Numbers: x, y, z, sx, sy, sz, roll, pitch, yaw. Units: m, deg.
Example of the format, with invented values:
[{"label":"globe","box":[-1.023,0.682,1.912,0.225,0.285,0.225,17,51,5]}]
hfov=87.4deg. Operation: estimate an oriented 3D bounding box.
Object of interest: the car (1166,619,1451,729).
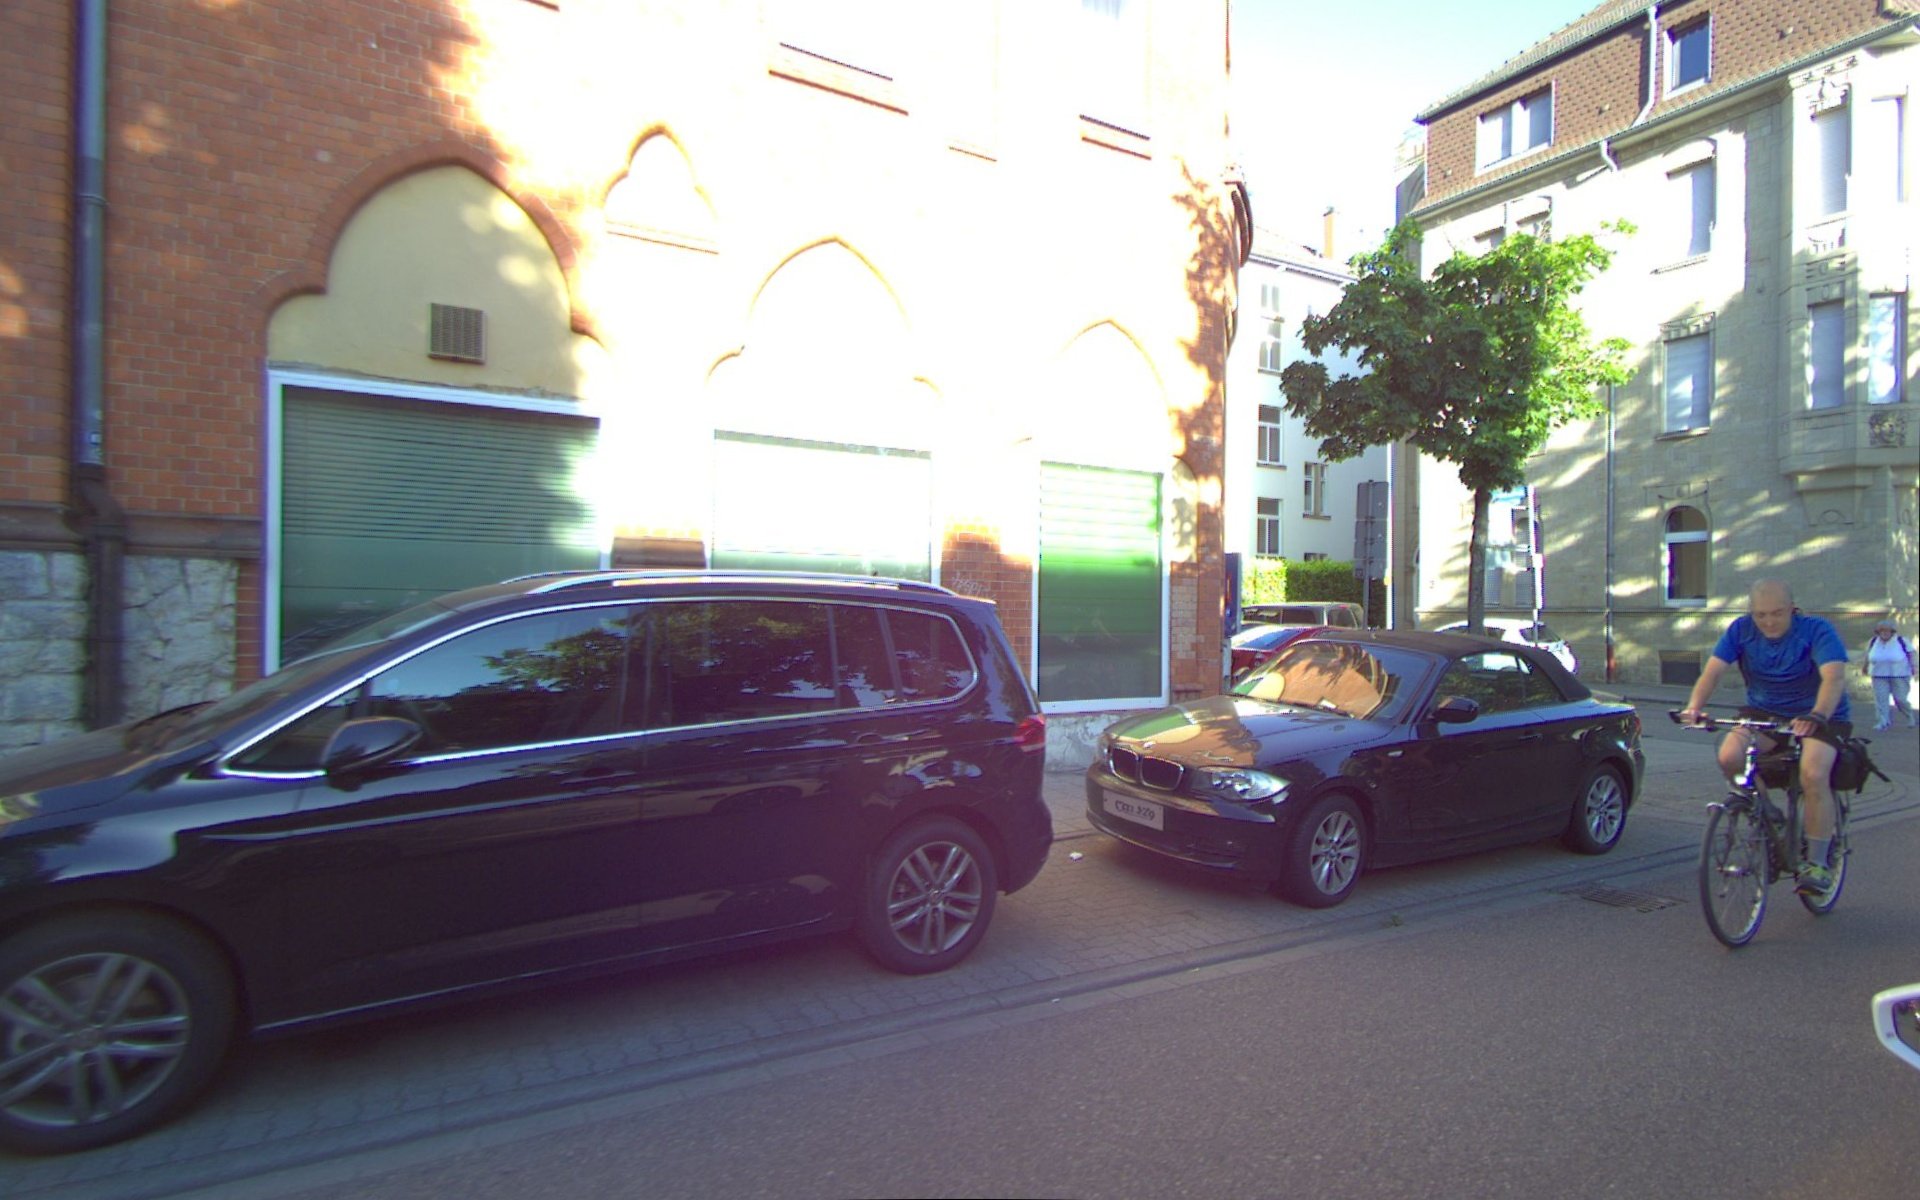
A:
[{"label":"car","box":[5.551,1.091,15.821,4.603,1.488,1.628,2,0,-30]}]

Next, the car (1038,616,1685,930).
[{"label":"car","box":[2.757,0.896,6.619,4.282,1.429,1.628,2,2,-30]}]

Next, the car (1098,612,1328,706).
[{"label":"car","box":[4.725,1.030,18.604,4.163,1.571,1.705,1,-1,-30]}]

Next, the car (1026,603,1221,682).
[{"label":"car","box":[3.484,0.889,21.207,3.869,1.532,1.705,2,-1,-30]}]

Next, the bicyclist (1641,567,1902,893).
[{"label":"bicyclist","box":[4.126,0.607,5.124,0.937,1.473,0.756,2,-2,-30]}]

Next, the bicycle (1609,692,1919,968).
[{"label":"bicycle","box":[4.256,1.075,5.194,1.885,1.122,0.754,2,-2,-30]}]

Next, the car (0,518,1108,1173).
[{"label":"car","box":[-1.593,0.666,4.150,4.302,1.703,1.660,2,0,-32]}]

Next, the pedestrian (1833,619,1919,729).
[{"label":"pedestrian","box":[14.113,1.096,15.330,1.041,1.598,0.884,0,-1,-30]}]

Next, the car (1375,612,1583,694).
[{"label":"car","box":[11.396,1.095,22.284,1.699,1.571,3.776,-2,1,-31]}]

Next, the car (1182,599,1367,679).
[{"label":"car","box":[8.368,0.983,27.162,1.846,1.892,4.688,-2,1,-31]}]

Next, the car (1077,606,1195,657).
[{"label":"car","box":[5.646,0.980,32.586,1.584,1.493,3.869,-2,1,-31]}]
